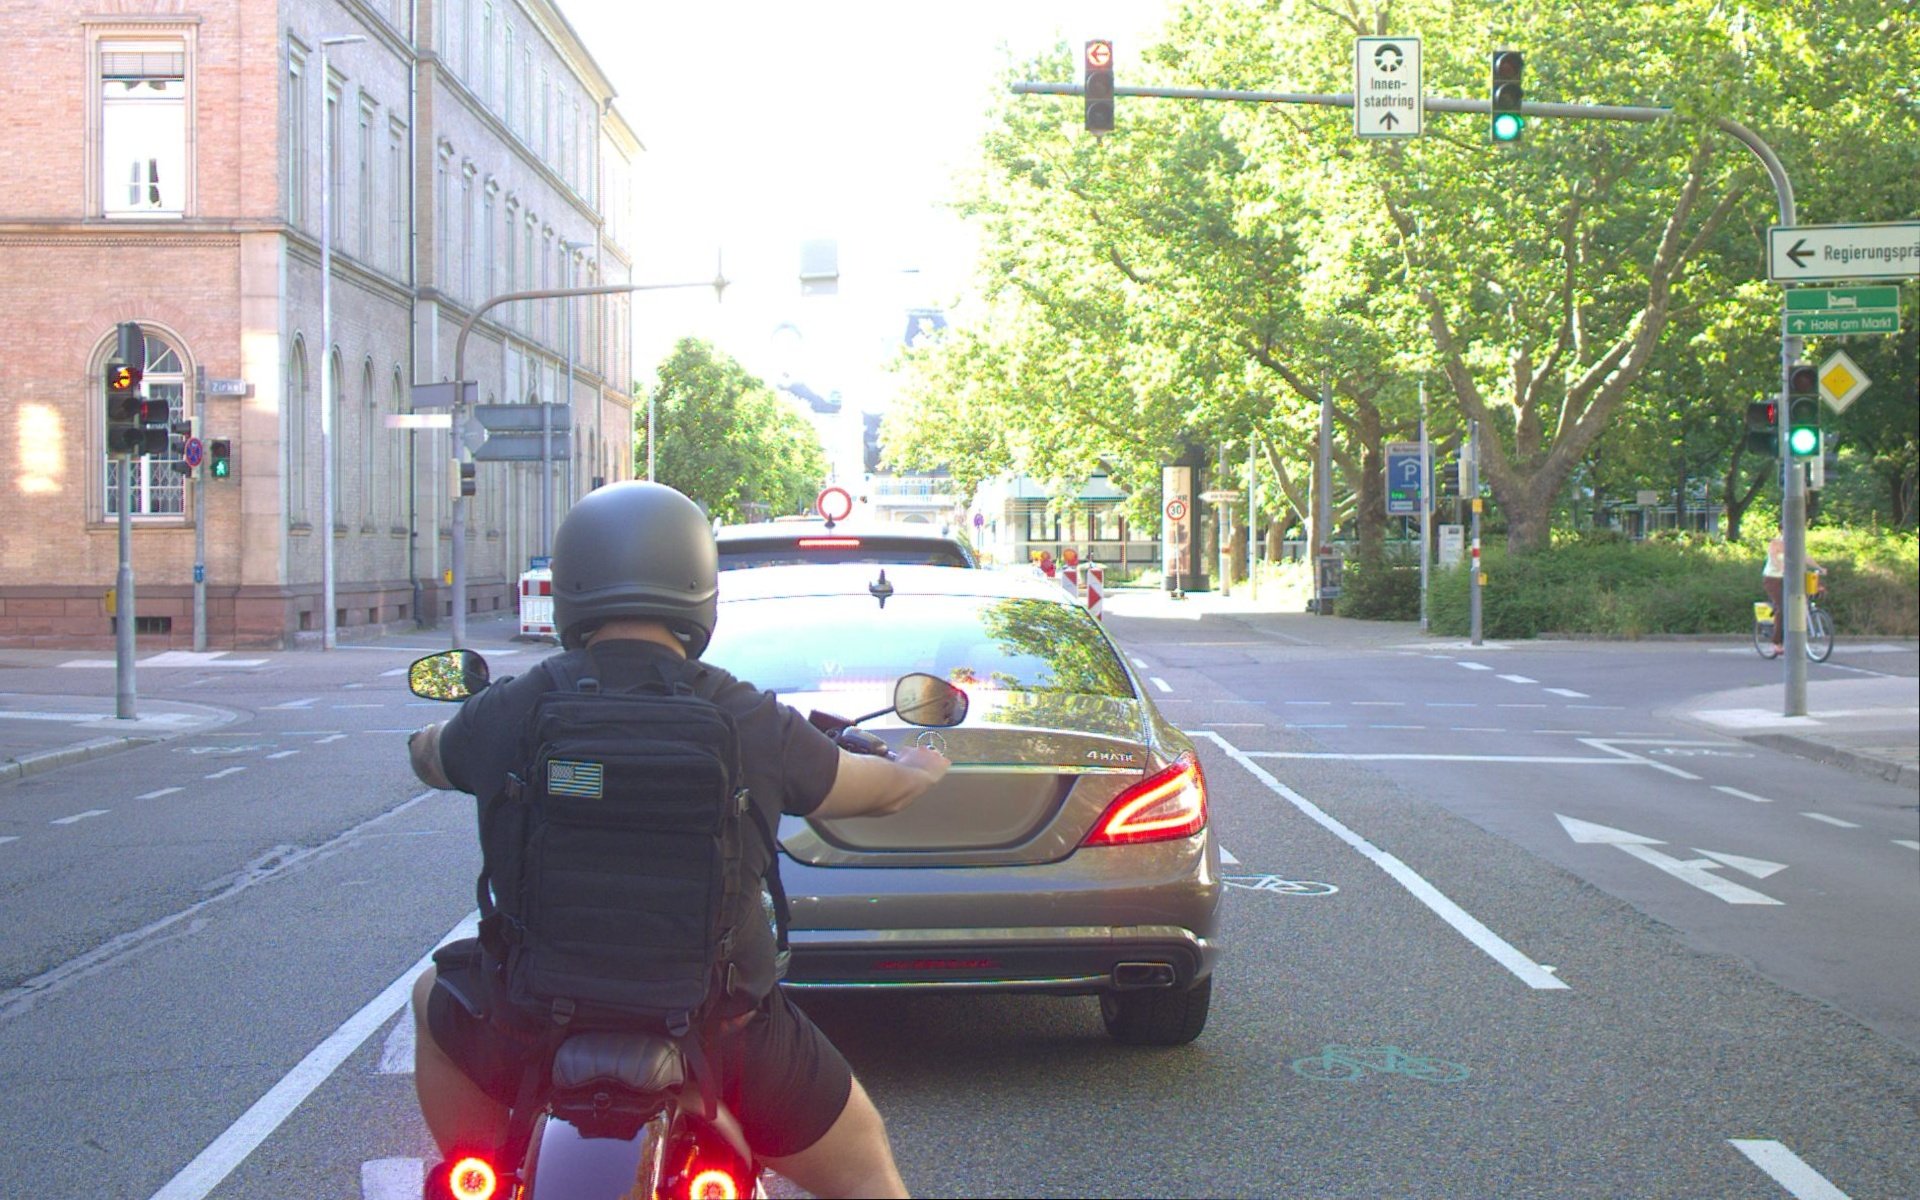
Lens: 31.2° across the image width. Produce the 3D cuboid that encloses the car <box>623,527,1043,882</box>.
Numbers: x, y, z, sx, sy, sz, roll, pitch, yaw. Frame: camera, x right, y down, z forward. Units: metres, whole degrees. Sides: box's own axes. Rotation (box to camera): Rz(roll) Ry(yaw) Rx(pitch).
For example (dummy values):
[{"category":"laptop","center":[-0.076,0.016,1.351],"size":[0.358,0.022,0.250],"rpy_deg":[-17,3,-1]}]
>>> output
[{"category":"car","center":[-0.651,0.415,16.774],"size":[1.813,1.530,3.849],"rpy_deg":[0,1,-3]}]

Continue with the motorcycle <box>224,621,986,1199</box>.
[{"category":"motorcycle","center":[-0.470,0.735,5.543],"size":[0.962,1.352,2.320],"rpy_deg":[1,1,-1]}]

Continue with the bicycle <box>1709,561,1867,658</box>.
[{"category":"bicycle","center":[10.326,0.112,42.961],"size":[0.715,1.168,2.176],"rpy_deg":[1,1,-24]}]

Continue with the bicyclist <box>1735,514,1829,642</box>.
[{"category":"bicyclist","center":[10.287,-0.282,43.043],"size":[0.716,1.577,0.936],"rpy_deg":[1,0,-23]}]

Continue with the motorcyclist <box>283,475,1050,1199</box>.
[{"category":"motorcyclist","center":[-0.420,0.616,5.272],"size":[1.061,1.577,0.908],"rpy_deg":[1,0,-1]}]

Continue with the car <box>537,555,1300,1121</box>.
[{"category":"car","center":[-0.353,0.583,11.113],"size":[1.901,1.436,4.290],"rpy_deg":[0,1,-8]}]
